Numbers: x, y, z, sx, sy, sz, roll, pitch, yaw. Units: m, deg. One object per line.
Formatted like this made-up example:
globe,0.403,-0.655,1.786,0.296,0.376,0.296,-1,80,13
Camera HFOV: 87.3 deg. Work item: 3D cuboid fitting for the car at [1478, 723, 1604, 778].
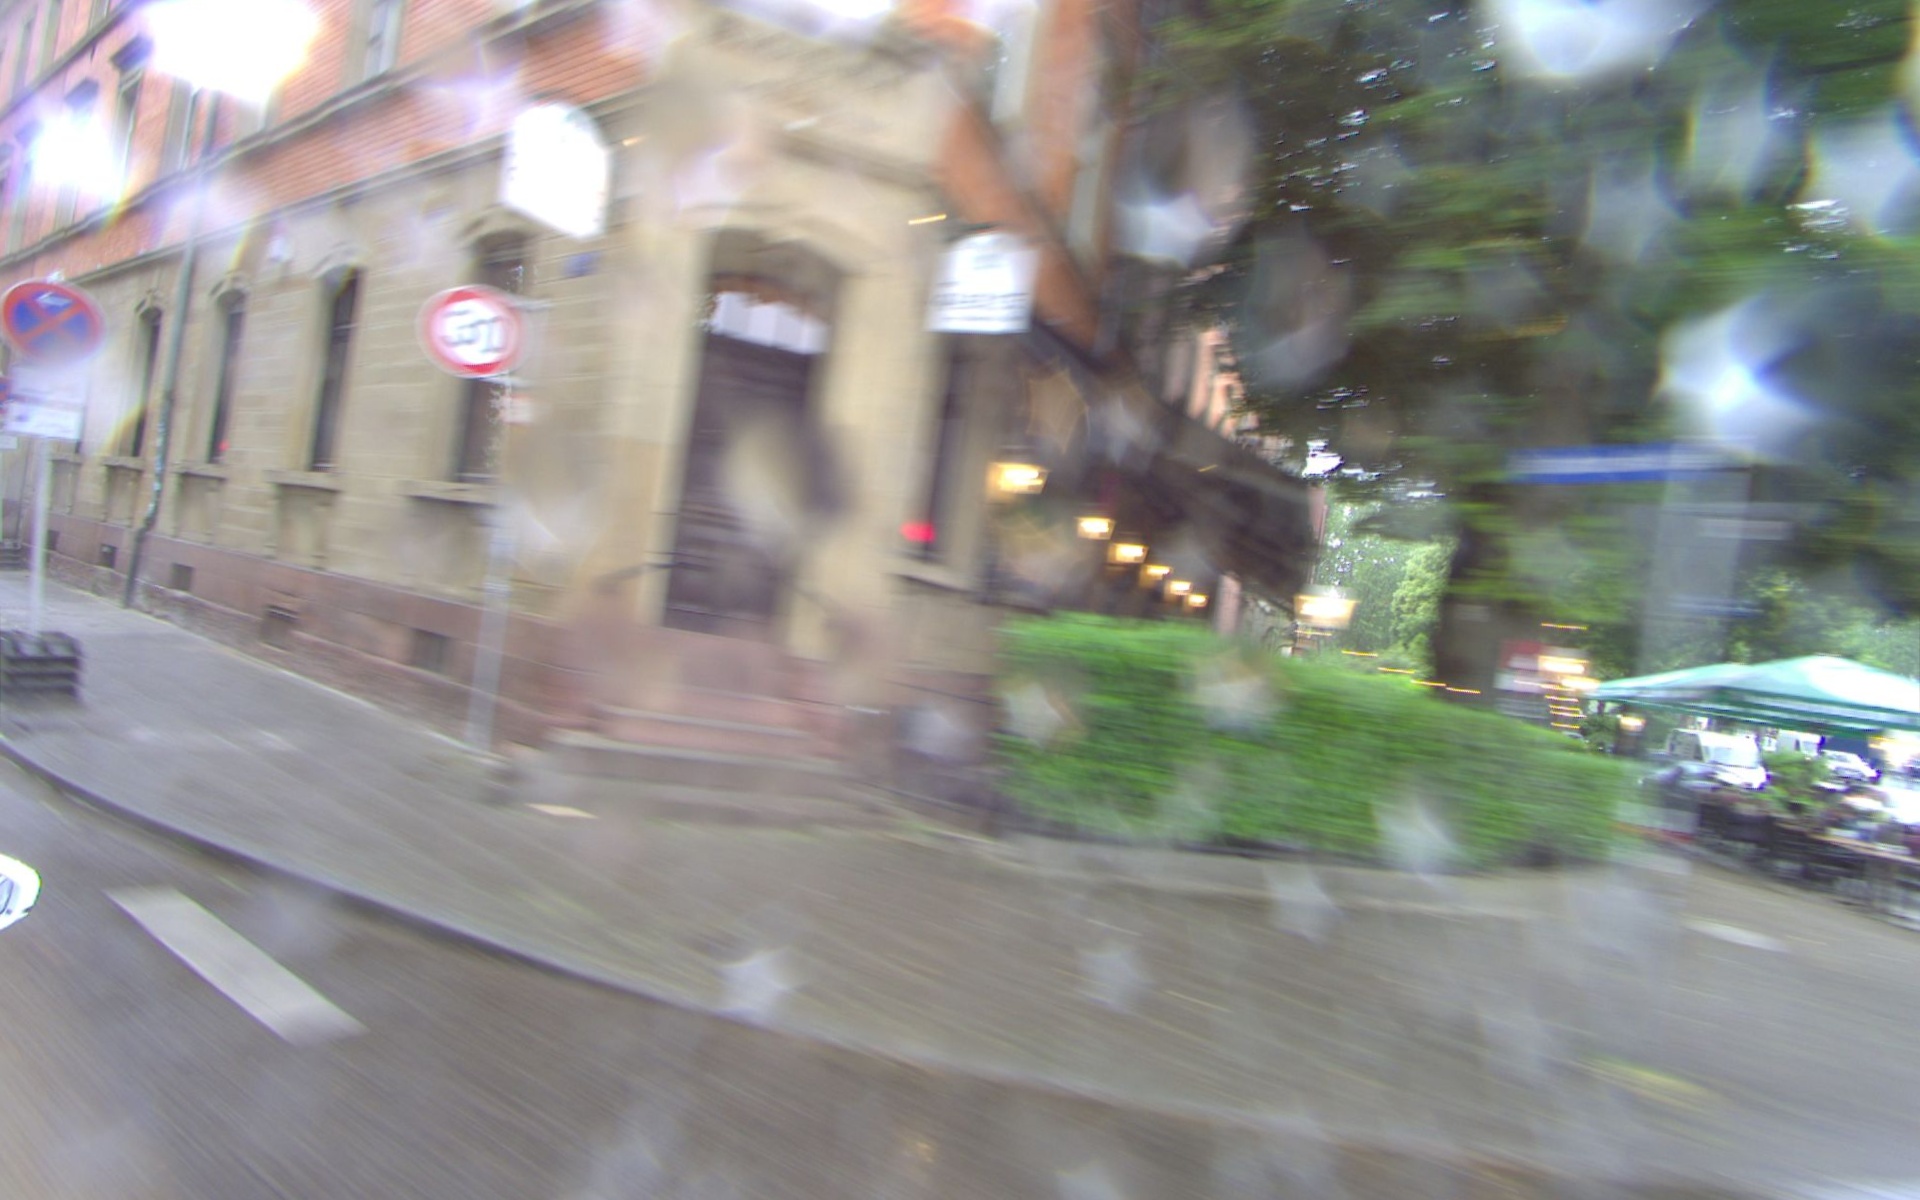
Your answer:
car,23.539,6.099,40.803,4.216,1.486,1.708,9,-2,-9

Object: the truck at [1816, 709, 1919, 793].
truck,54.135,8.815,59.583,2.375,4.325,8.359,7,-2,23

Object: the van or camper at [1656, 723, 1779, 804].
van or camper,31.011,6.597,41.448,2.291,2.620,6.102,7,-2,22

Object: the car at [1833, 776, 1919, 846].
car,26.153,5.881,27.822,1.701,1.486,4.219,7,-3,23

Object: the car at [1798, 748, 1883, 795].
car,45.882,8.912,52.539,1.963,1.779,4.001,6,-1,22

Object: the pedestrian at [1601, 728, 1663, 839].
pedestrian,10.783,2.937,16.167,0.540,1.664,0.389,10,0,25
